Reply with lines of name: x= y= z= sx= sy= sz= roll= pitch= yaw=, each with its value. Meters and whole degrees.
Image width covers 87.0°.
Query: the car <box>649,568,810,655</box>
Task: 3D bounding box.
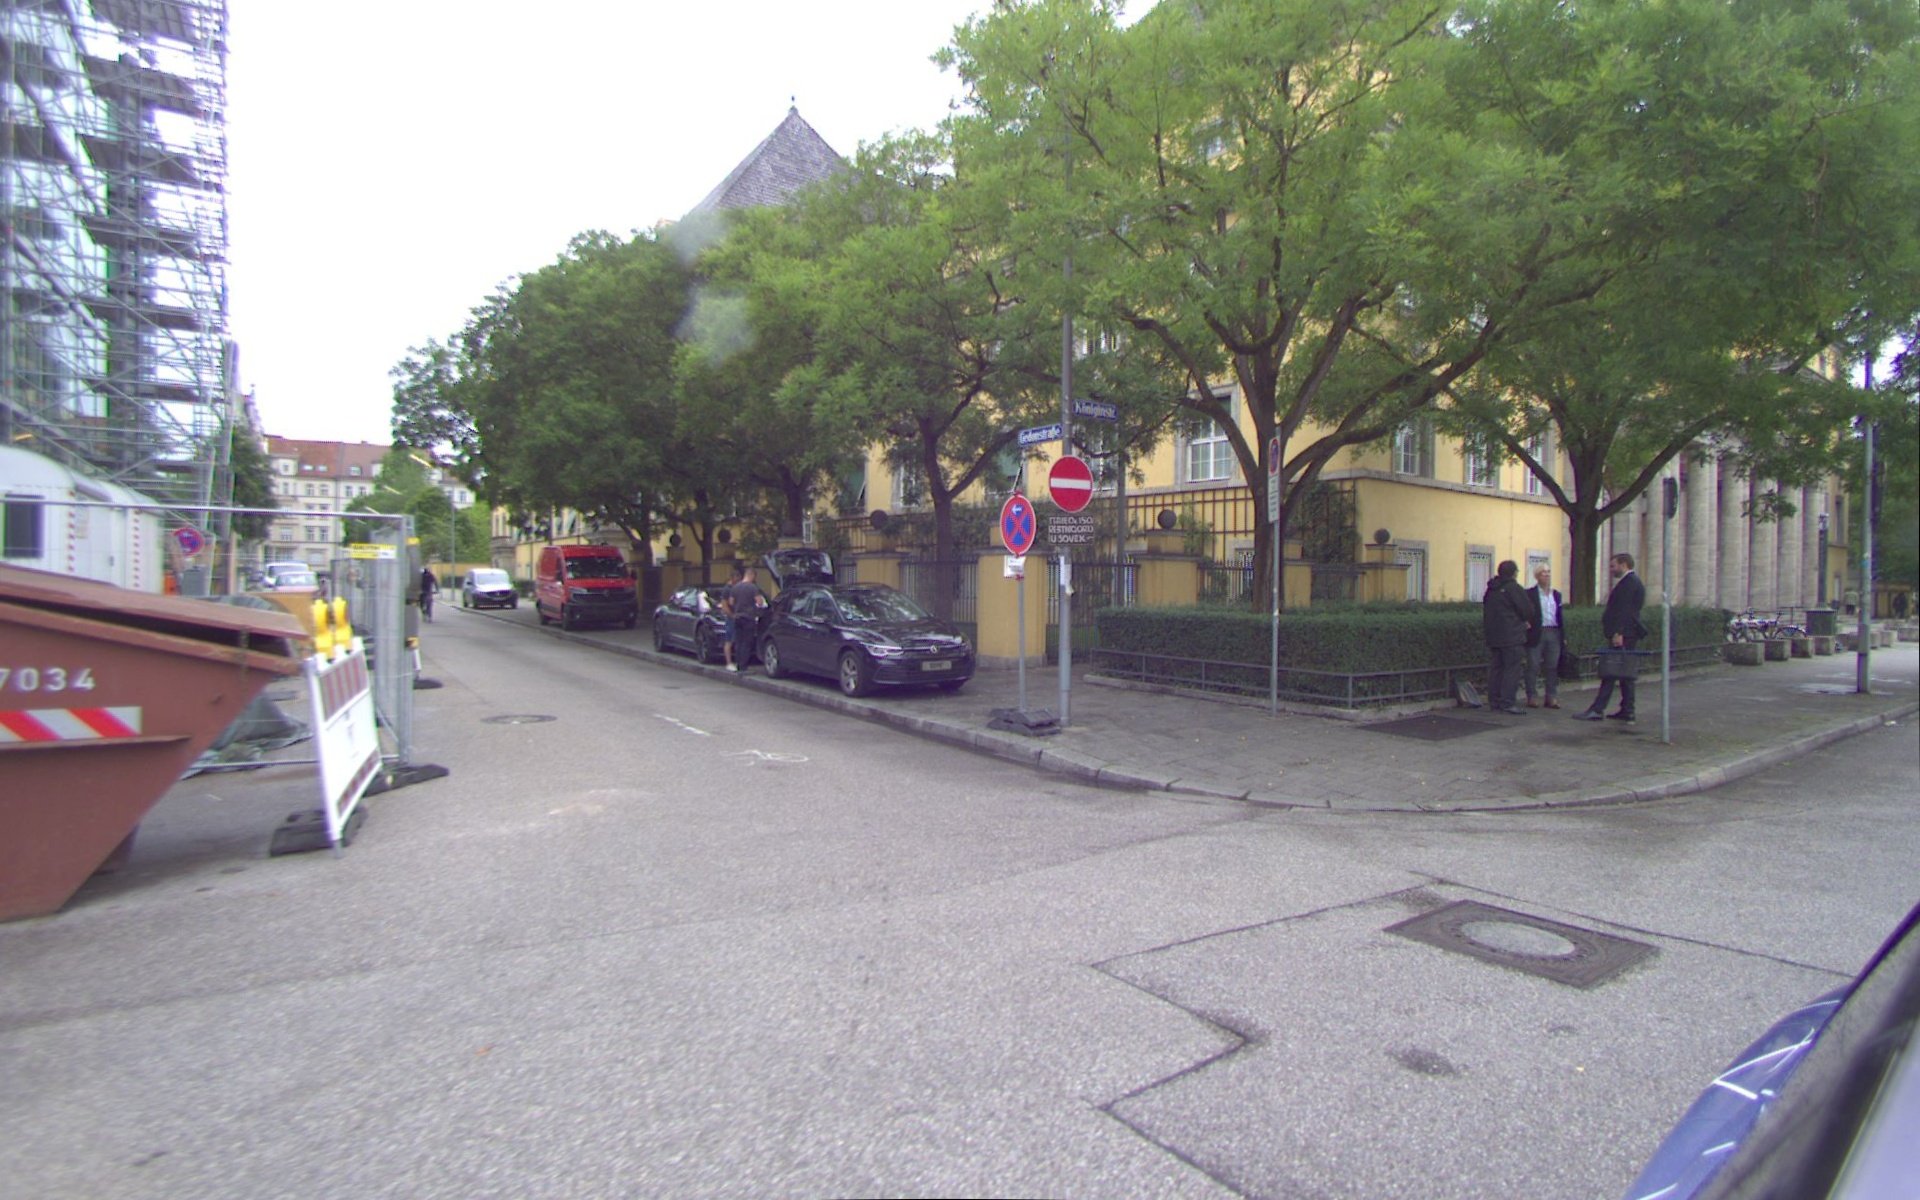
car: x=-4.585 y=0.139 z=19.685 sx=1.833 sy=1.504 sz=4.009 roll=-1 pitch=2 yaw=-32

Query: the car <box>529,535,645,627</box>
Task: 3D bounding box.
car: x=-11.326 y=-0.600 z=30.456 sx=2.112 sy=2.492 sz=5.700 roll=-1 pitch=2 yaw=-32

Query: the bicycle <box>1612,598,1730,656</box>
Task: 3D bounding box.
bicycle: x=15.503 y=0.559 z=22.126 sx=0.463 sy=1.127 sz=2.036 roll=0 pitch=2 yaw=-41

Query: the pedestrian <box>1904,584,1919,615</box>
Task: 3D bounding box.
pedestrian: x=55.390 y=-0.026 z=58.662 sx=1.037 sy=1.767 sz=0.790 roll=0 pitch=1 yaw=-39

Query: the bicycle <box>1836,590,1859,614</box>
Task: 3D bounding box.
bicycle: x=50.568 y=0.117 z=57.658 sx=2.126 sy=1.323 sz=0.601 roll=0 pitch=2 yaw=-39

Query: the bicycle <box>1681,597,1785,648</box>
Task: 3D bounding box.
bicycle: x=18.875 y=0.519 z=24.753 sx=0.462 sy=1.127 sz=1.938 roll=0 pitch=2 yaw=-36

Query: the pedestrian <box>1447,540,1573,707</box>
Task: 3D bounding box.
pedestrian: x=6.557 y=0.265 z=12.109 sx=1.035 sy=1.931 sz=0.745 roll=1 pitch=1 yaw=-2

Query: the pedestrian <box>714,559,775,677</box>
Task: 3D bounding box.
pedestrian: x=-3.450 y=0.261 z=16.206 sx=0.667 sy=1.832 sz=0.677 roll=2 pitch=2 yaw=33

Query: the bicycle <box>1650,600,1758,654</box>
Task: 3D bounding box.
bicycle: x=17.253 y=0.600 z=23.520 sx=0.462 sy=1.127 sz=1.938 roll=0 pitch=2 yaw=-36

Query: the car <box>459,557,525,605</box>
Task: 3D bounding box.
car: x=-21.033 y=-0.860 z=45.376 sx=1.962 sy=2.039 sz=3.999 roll=0 pitch=1 yaw=-36

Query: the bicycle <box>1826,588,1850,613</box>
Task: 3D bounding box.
bicycle: x=48.765 y=0.008 z=56.207 sx=2.223 sy=1.323 sz=0.601 roll=0 pitch=2 yaw=-39

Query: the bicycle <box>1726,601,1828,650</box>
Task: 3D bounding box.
bicycle: x=20.789 y=0.636 z=25.783 sx=0.463 sy=1.127 sz=1.935 roll=0 pitch=2 yaw=-40

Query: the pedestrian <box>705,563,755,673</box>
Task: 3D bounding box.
pedestrian: x=-3.802 y=0.287 z=16.744 sx=0.559 sy=1.773 sz=0.581 roll=2 pitch=2 yaw=42

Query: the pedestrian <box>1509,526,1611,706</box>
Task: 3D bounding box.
pedestrian: x=7.562 y=0.178 z=12.755 sx=1.037 sy=2.161 sz=0.744 roll=0 pitch=1 yaw=-39

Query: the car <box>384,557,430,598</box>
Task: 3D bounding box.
car: x=-31.466 y=-1.247 z=57.527 sx=1.961 sy=2.106 sz=4.000 roll=-1 pitch=-1 yaw=-33

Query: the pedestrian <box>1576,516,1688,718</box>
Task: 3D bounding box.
pedestrian: x=7.626 y=0.169 z=11.484 sx=1.037 sy=2.161 sz=0.744 roll=0 pitch=1 yaw=-39

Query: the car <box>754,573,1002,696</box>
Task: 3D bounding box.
car: x=-1.350 y=0.368 z=14.748 sx=1.833 sy=1.504 sz=4.221 roll=-1 pitch=2 yaw=-33

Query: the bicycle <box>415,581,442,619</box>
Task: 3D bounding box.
bicycle: x=-17.501 y=-0.018 z=33.358 sx=0.747 sy=1.156 sz=2.266 roll=-1 pitch=3 yaw=-27

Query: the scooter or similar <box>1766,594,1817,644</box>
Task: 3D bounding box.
scooter or similar: x=21.803 y=0.484 z=26.547 sx=0.528 sy=1.237 sz=1.011 roll=2 pitch=1 yaw=6

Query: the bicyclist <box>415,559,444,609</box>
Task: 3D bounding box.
bicyclist: x=-17.404 y=-0.509 z=33.220 sx=0.794 sy=1.596 sz=0.978 roll=1 pitch=-1 yaw=-27
